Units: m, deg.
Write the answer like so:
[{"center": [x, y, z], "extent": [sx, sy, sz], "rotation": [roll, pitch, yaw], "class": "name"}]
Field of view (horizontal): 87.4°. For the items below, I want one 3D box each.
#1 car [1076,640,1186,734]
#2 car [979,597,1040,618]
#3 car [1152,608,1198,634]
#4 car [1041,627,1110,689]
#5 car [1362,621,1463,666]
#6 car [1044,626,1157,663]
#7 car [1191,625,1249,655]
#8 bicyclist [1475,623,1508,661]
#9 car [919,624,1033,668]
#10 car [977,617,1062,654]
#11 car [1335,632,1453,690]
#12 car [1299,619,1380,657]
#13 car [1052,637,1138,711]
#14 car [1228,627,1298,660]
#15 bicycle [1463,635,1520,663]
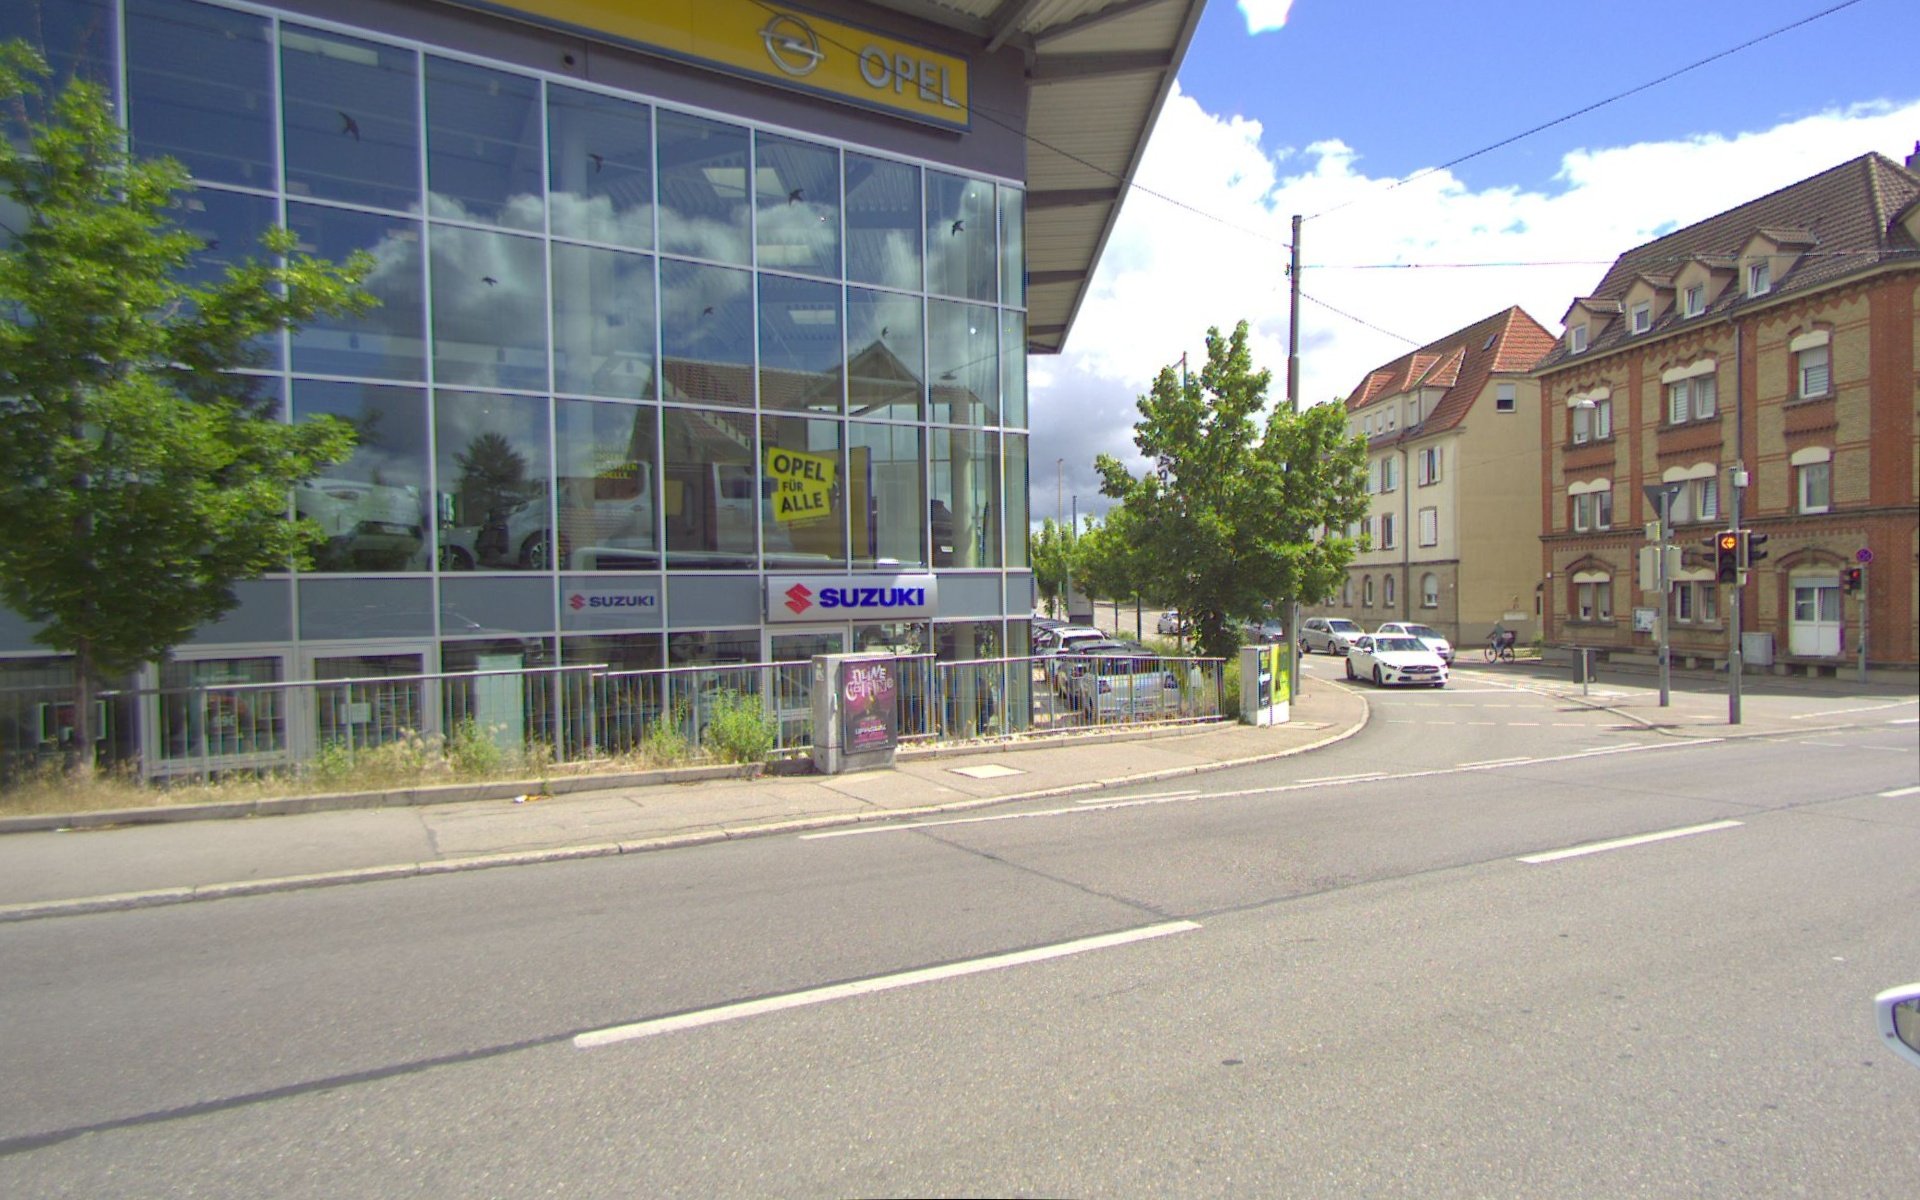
[{"center": [3.396, 1.690, 20.554], "extent": [1.720, 1.596, 3.687], "rotation": [2, -1, 3], "class": "car"}, {"center": [3.243, 0.511, 66.347], "extent": [3.921, 1.311, 1.818], "rotation": [1, -1, 0], "class": "car"}, {"center": [14.089, 1.362, 66.072], "extent": [1.961, 1.607, 4.345], "rotation": [1, 0, -2], "class": "car"}, {"center": [3.282, 1.635, 29.096], "extent": [1.487, 1.596, 3.414], "rotation": [1, -1, -2], "class": "car"}, {"center": [17.066, 1.610, 38.089], "extent": [1.670, 1.517, 3.995], "rotation": [1, -1, -7], "class": "car"}, {"center": [5.169, 1.635, 37.213], "extent": [3.921, 1.202, 1.818], "rotation": [1, -1, 0], "class": "car"}, {"center": [14.873, 2.281, 57.688], "extent": [1.963, 1.664, 3.996], "rotation": [1, -1, -7], "class": "car"}, {"center": [21.381, 1.691, 40.409], "extent": [0.581, 1.519, 1.069], "rotation": [1, -1, -21], "class": "bicyclist"}, {"center": [0.618, 1.678, 37.201], "extent": [3.919, 1.478, 1.605], "rotation": [1, -1, 15], "class": "car"}, {"center": [2.652, 1.587, 45.871], "extent": [1.974, 1.599, 4.476], "rotation": [1, -1, -26], "class": "car"}, {"center": [12.305, 1.683, 28.783], "extent": [1.825, 1.466, 4.394], "rotation": [1, -1, 6], "class": "car"}, {"center": [16.740, 1.643, 44.514], "extent": [1.715, 1.539, 3.996], "rotation": [1, -1, -7], "class": "car"}, {"center": [3.232, 1.756, 24.702], "extent": [1.487, 1.543, 3.792], "rotation": [1, -1, -2], "class": "car"}, {"center": [15.338, 2.186, 51.021], "extent": [1.963, 1.539, 3.996], "rotation": [1, -1, -7], "class": "car"}, {"center": [21.371, 1.956, 40.429], "extent": [0.597, 1.033, 2.181], "rotation": [1, -1, -21], "class": "bicycle"}]
